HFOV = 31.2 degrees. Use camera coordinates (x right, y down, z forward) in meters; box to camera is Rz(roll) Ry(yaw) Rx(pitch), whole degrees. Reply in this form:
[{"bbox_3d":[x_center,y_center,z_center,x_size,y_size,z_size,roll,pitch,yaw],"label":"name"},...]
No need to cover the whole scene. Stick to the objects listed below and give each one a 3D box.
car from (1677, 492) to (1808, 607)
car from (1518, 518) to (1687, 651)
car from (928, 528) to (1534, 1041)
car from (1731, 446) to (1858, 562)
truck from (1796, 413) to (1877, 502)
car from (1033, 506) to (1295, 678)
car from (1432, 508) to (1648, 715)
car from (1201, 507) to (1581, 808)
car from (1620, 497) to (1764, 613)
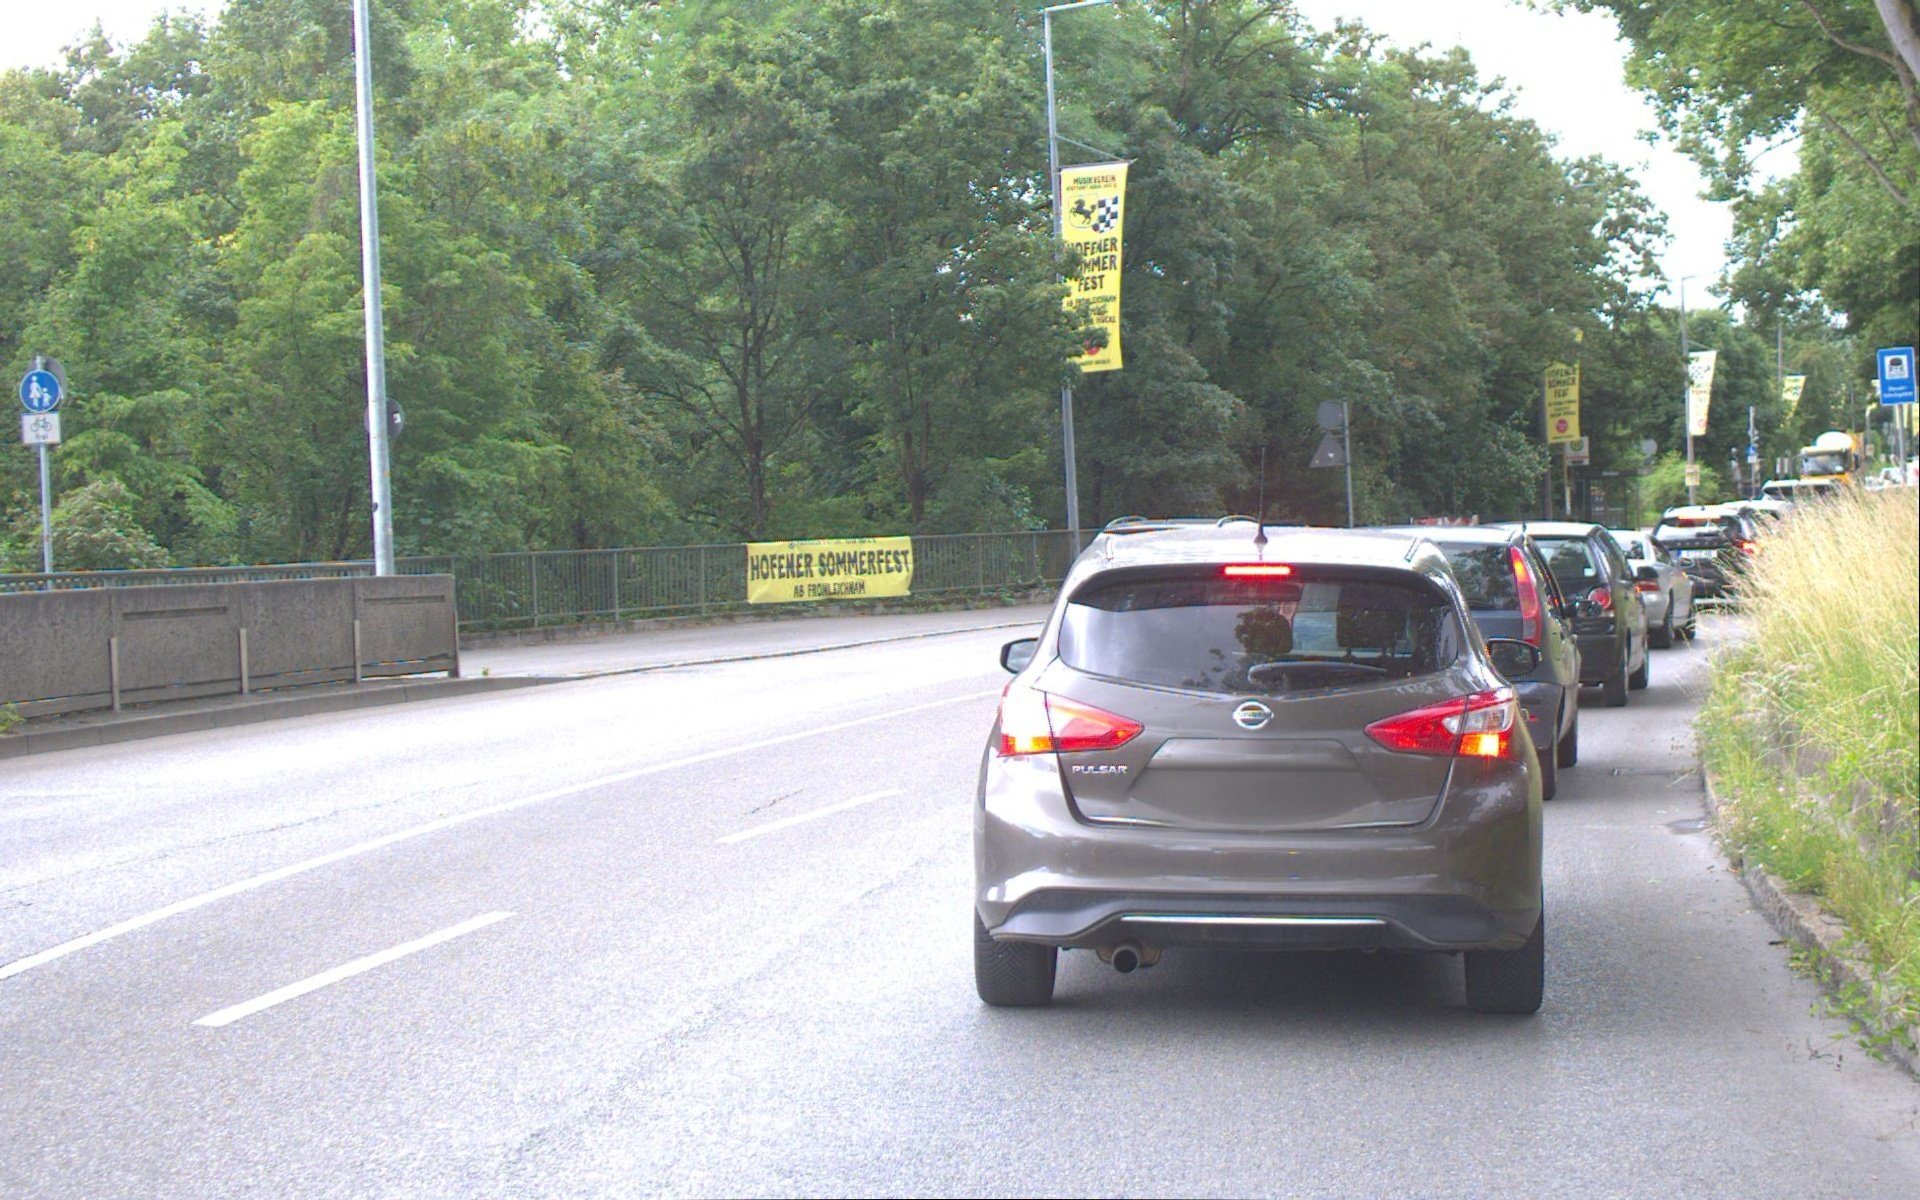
[{"bbox_3d":[12.430,-0.765,54.471,1.719,1.687,3.997,-2,-1,17],"label":"car"},{"bbox_3d":[7.220,-0.194,38.423,1.501,1.360,3.585,-2,0,16],"label":"car"},{"bbox_3d":[1.056,0.519,12.075,1.775,1.489,3.999,0,0,8],"label":"car"},{"bbox_3d":[15.234,-1.743,62.657,1.892,2.007,3.997,-1,1,18],"label":"car"},{"bbox_3d":[40.199,-6.461,157.476,2.657,3.925,10.102,0,1,19],"label":"truck"},{"bbox_3d":[2.014,-0.110,32.655,1.852,1.481,4.419,-1,1,11],"label":"car"},{"bbox_3d":[4.794,0.060,28.339,1.578,1.533,3.998,-2,0,10],"label":"car"},{"bbox_3d":[2.615,0.294,20.092,1.894,1.568,3.998,-1,0,11],"label":"car"},{"bbox_3d":[10.241,-0.631,47.937,1.806,1.535,3.997,0,1,14],"label":"car"}]
